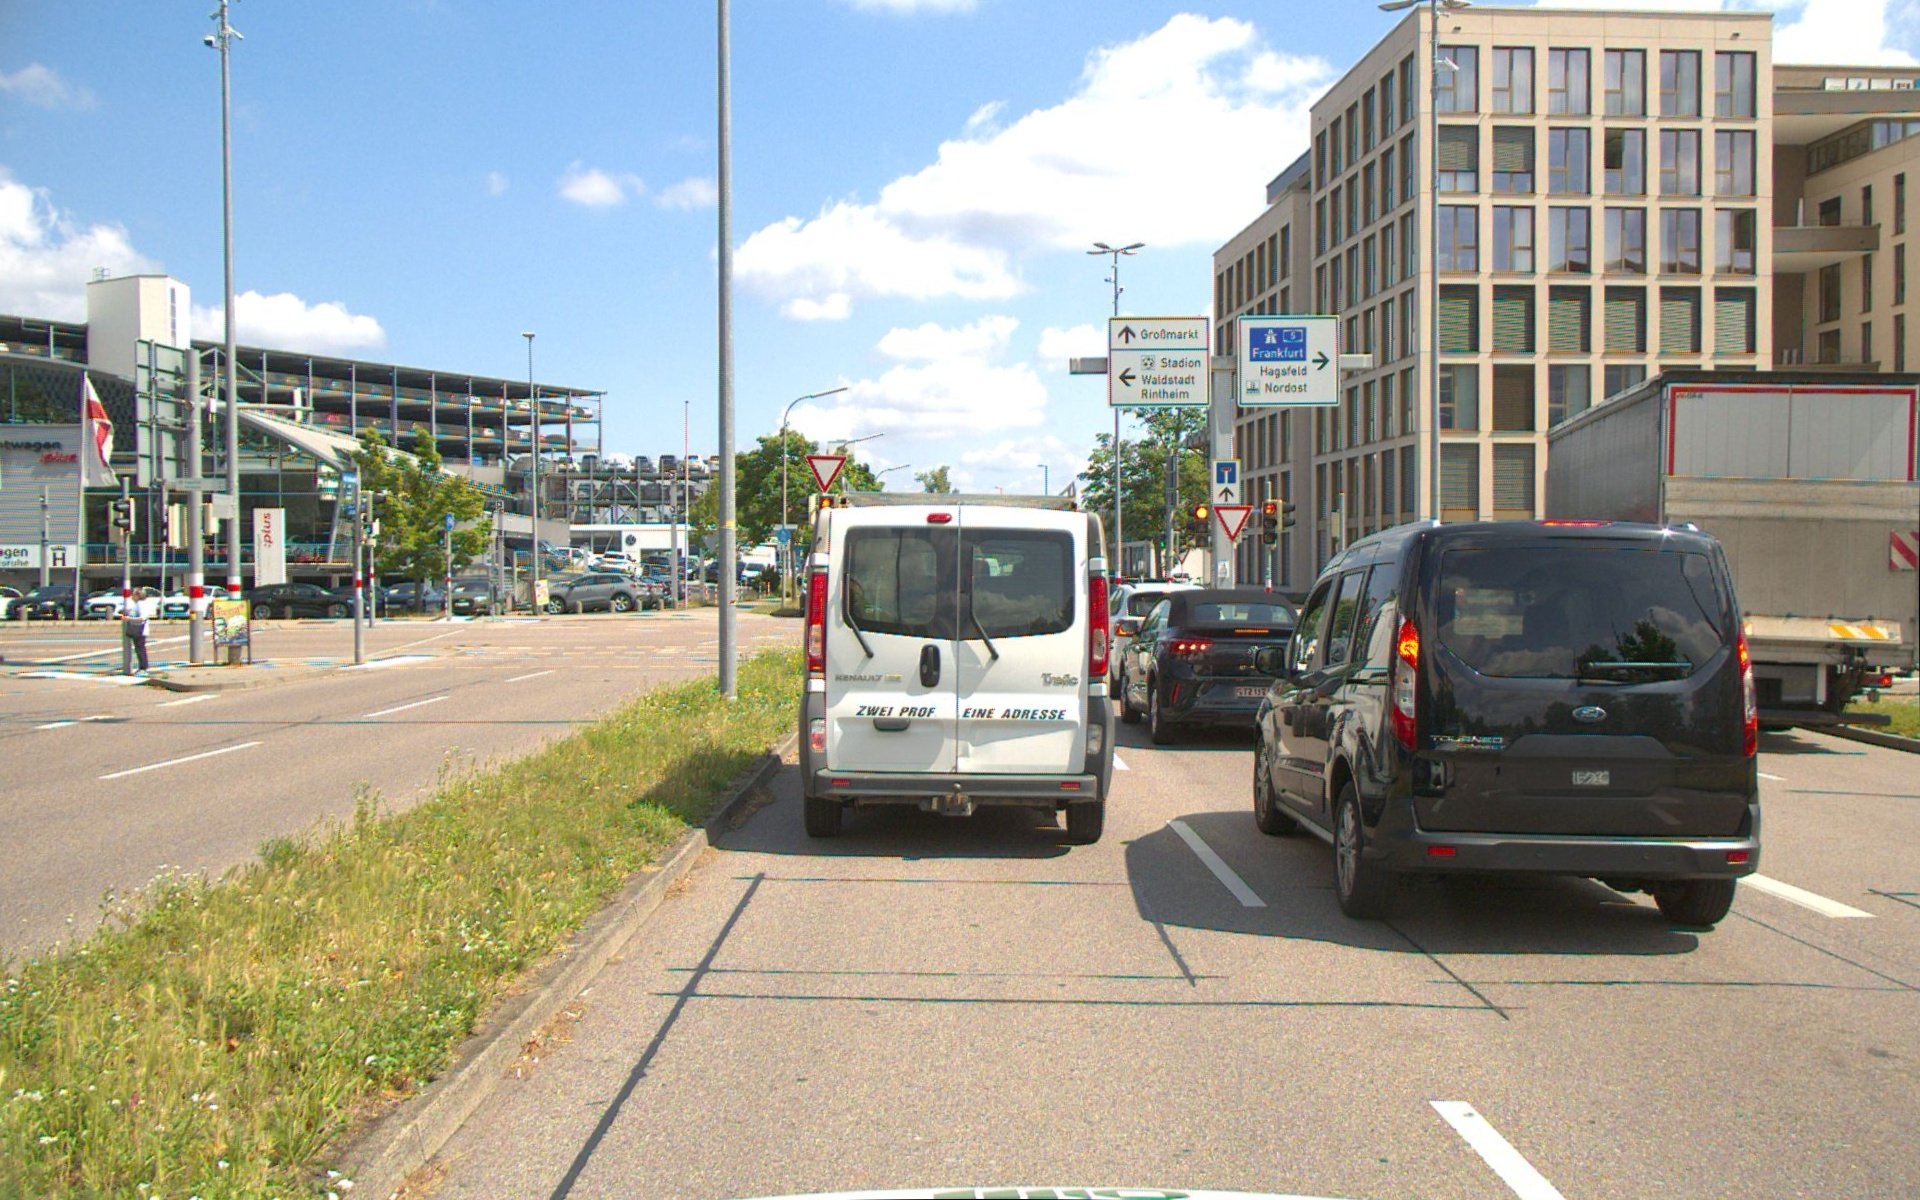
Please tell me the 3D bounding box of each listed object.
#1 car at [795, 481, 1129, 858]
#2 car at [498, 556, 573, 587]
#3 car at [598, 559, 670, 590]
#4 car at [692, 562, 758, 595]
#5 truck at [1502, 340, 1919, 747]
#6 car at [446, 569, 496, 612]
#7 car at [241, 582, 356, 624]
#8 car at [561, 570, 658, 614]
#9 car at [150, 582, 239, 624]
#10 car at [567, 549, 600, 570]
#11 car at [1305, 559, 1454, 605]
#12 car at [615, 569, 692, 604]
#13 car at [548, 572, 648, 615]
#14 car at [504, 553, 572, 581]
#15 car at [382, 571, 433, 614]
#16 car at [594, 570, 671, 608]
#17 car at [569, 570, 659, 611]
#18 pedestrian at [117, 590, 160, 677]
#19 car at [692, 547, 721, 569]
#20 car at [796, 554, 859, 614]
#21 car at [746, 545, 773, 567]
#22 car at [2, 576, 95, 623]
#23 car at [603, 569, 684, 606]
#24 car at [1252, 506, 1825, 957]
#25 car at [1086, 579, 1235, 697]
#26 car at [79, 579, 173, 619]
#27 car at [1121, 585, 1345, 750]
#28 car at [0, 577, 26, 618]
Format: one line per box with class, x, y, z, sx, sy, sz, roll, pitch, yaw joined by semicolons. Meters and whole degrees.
car;0.055;0.370;11.130;1.817;2.053;4.001;1;0;1
car;-25.162;-1.693;98.158;4.085;1.743;1.686;1;0;-7
car;-19.666;-1.568;99.756;4.085;1.742;1.687;1;1;-7
car;-14.280;-1.283;100.550;3.911;1.959;1.824;1;0;-7
truck;9.099;-0.661;20.875;3.063;4.009;8.867;1;1;10
car;-18.940;-0.382;64.028;1.789;1.579;3.981;1;0;-17
car;-25.106;0.111;62.882;3.719;1.539;1.677;0;1;-6
car;-15.145;-0.358;71.622;3.836;1.742;1.687;-2;1;-5
car;-29.077;0.099;62.938;1.741;1.475;4.026;0;1;-4
car;-27.772;-2.996;122.112;1.810;1.556;3.996;0;1;-5
car;15.279;-0.669;60.368;4.884;1.635;1.999;0;1;-4
car;-16.268;-0.726;87.868;3.836;1.742;1.687;-2;1;-5
car;-15.102;-0.283;69.158;3.786;1.668;1.856;-2;1;-5
car;-27.512;-2.124;107.890;4.085;1.743;1.686;1;0;-7
car;-21.291;-0.308;63.833;1.789;1.579;3.981;1;0;-17
car;-15.745;-0.533;79.670;3.439;1.742;1.602;-2;1;-5
car;-15.896;-0.439;76.151;3.836;1.742;1.687;-2;1;-5
pedestrian;-14.743;0.585;29.687;0.459;1.538;0.511;1;0;24
car;-18.527;-3.067;121.100;1.810;1.556;3.996;0;1;-5
car;-5.329;-0.683;67.090;1.930;2.295;4.983;-1;1;2
car;-14.729;-3.217;121.648;1.810;1.556;3.996;0;1;-5
car;-34.266;-0.035;62.249;1.722;1.689;3.614;0;1;-5
car;-16.199;-0.648;84.773;3.836;1.742;1.687;-2;1;-5
car;2.760;0.521;8.893;1.782;1.840;4.001;1;1;2
car;2.866;0.506;24.374;1.704;1.570;4.000;1;0;0
car;-31.592;-0.051;62.780;1.870;1.400;3.749;0;1;-4
car;2.761;0.630;17.561;1.704;1.521;4.000;1;0;0
car;-37.006;-0.087;62.291;1.842;1.512;3.697;0;1;-5
